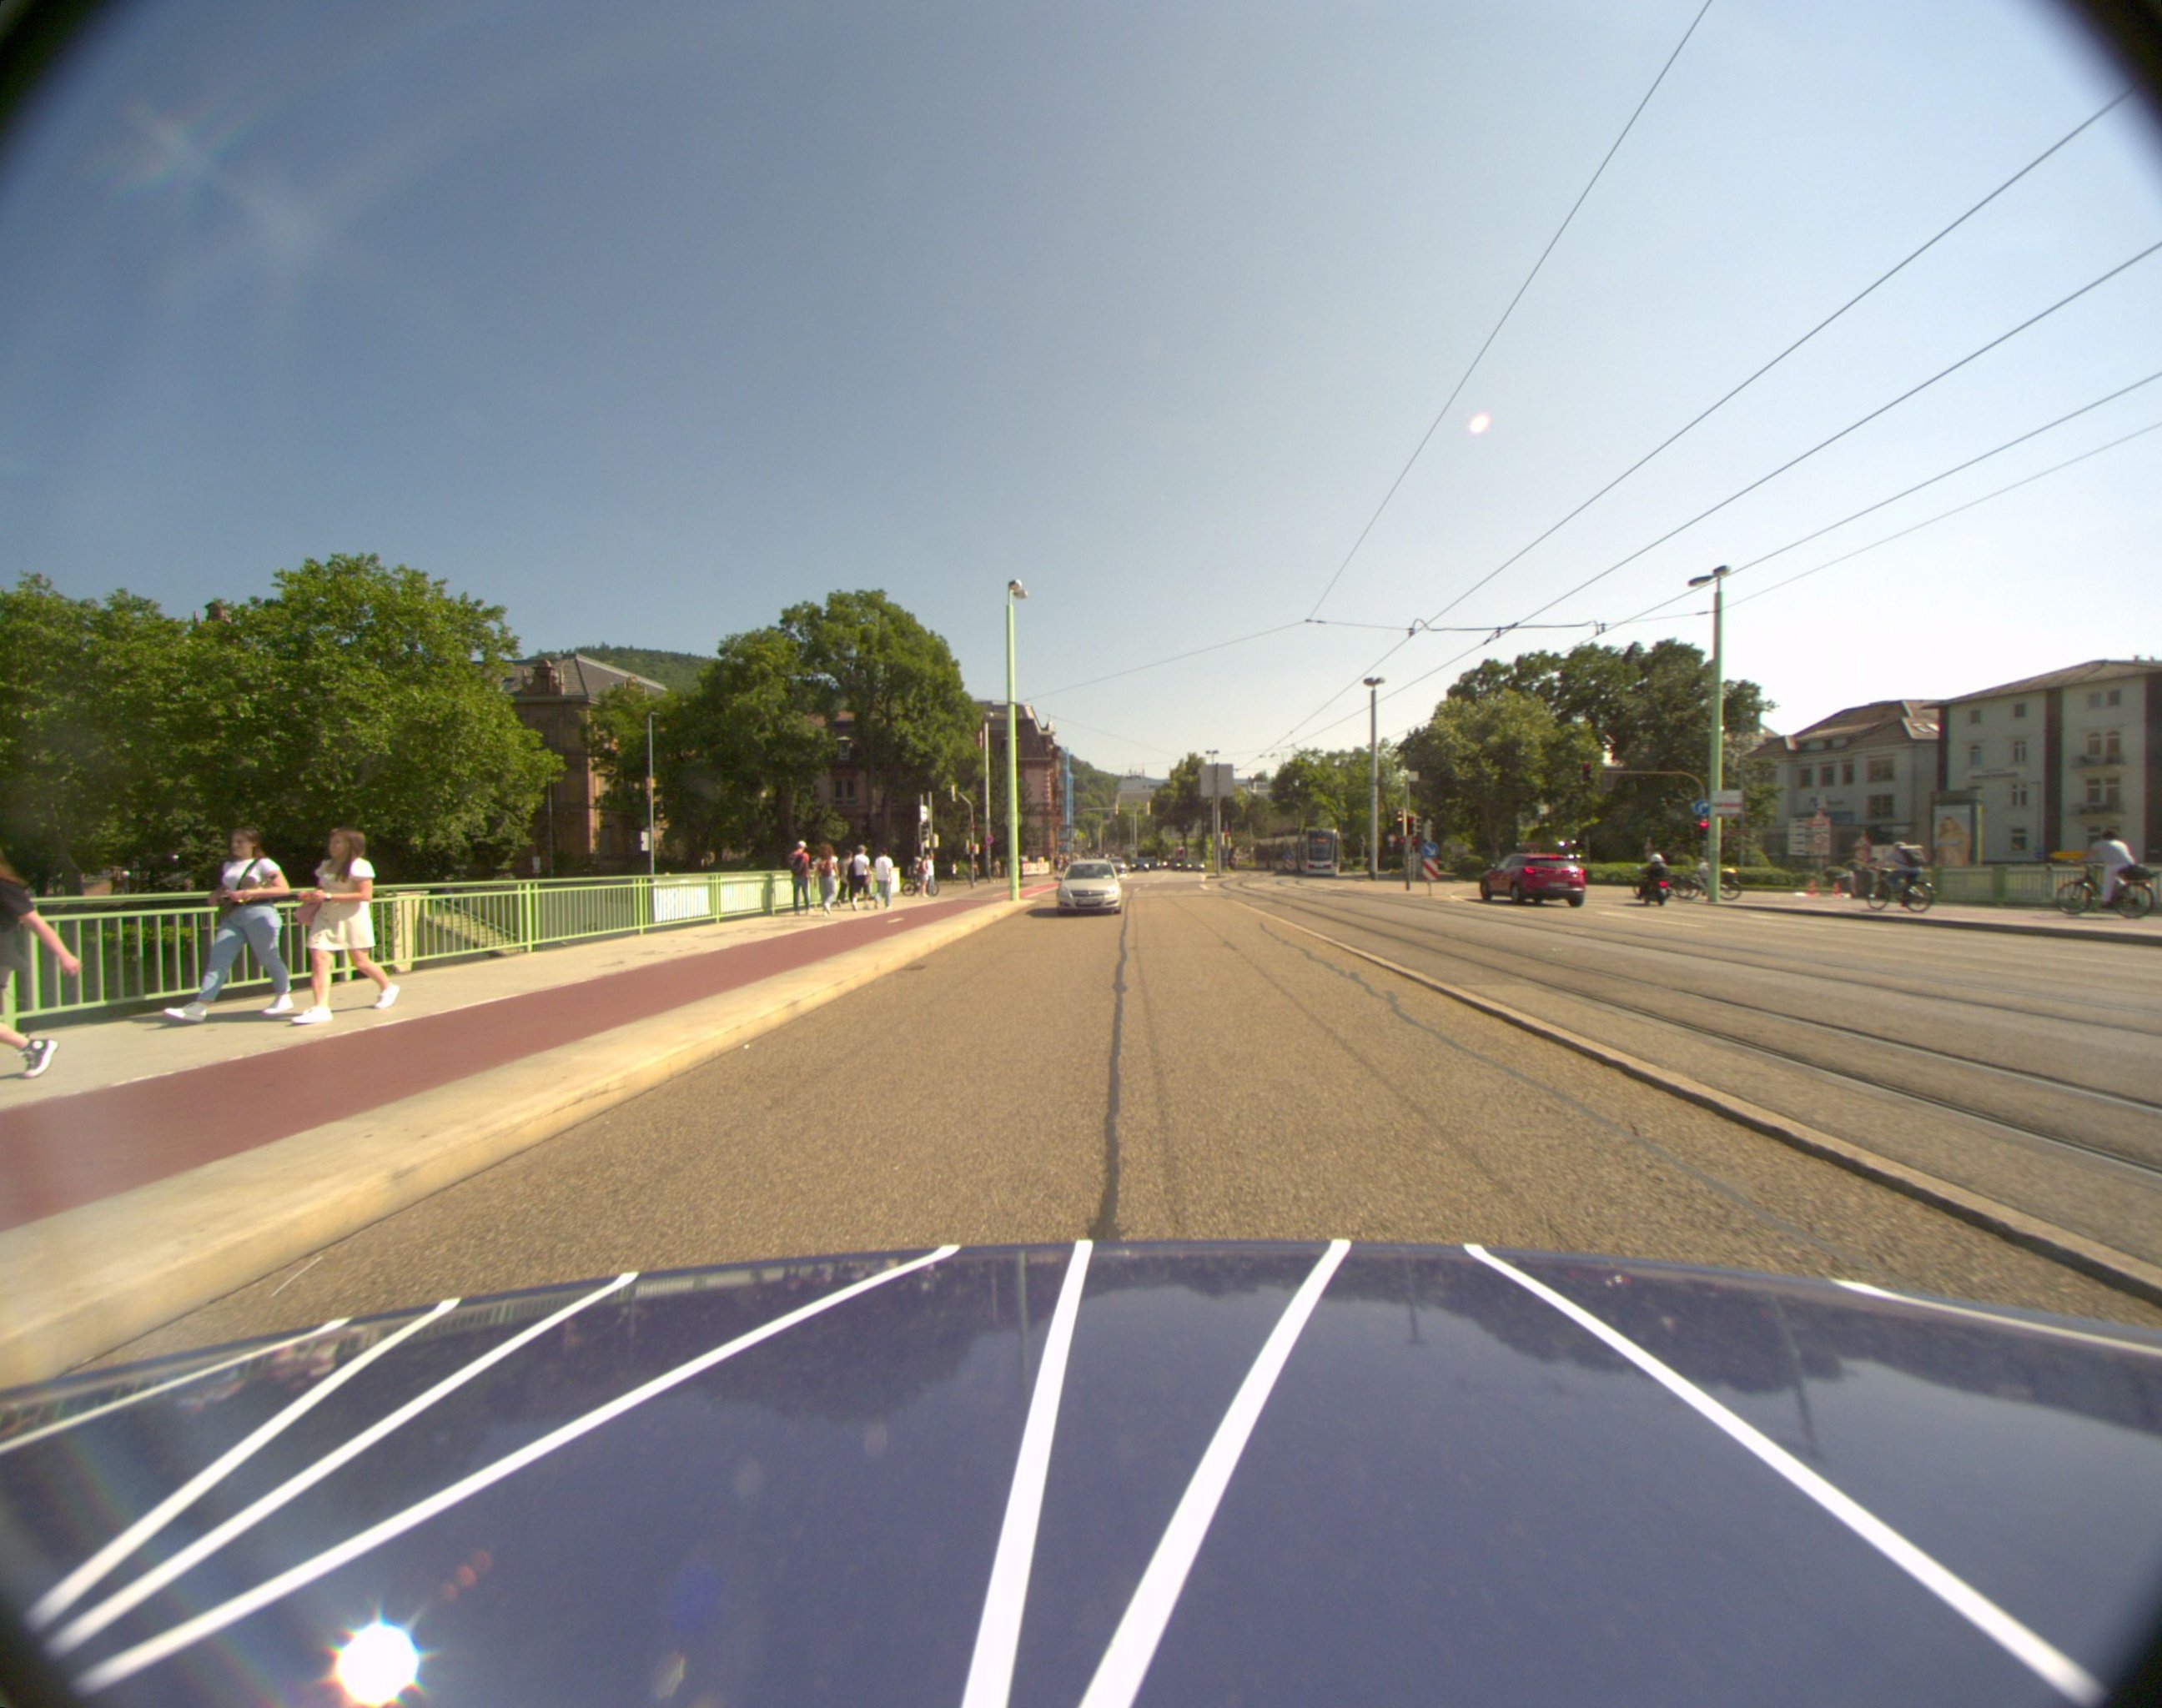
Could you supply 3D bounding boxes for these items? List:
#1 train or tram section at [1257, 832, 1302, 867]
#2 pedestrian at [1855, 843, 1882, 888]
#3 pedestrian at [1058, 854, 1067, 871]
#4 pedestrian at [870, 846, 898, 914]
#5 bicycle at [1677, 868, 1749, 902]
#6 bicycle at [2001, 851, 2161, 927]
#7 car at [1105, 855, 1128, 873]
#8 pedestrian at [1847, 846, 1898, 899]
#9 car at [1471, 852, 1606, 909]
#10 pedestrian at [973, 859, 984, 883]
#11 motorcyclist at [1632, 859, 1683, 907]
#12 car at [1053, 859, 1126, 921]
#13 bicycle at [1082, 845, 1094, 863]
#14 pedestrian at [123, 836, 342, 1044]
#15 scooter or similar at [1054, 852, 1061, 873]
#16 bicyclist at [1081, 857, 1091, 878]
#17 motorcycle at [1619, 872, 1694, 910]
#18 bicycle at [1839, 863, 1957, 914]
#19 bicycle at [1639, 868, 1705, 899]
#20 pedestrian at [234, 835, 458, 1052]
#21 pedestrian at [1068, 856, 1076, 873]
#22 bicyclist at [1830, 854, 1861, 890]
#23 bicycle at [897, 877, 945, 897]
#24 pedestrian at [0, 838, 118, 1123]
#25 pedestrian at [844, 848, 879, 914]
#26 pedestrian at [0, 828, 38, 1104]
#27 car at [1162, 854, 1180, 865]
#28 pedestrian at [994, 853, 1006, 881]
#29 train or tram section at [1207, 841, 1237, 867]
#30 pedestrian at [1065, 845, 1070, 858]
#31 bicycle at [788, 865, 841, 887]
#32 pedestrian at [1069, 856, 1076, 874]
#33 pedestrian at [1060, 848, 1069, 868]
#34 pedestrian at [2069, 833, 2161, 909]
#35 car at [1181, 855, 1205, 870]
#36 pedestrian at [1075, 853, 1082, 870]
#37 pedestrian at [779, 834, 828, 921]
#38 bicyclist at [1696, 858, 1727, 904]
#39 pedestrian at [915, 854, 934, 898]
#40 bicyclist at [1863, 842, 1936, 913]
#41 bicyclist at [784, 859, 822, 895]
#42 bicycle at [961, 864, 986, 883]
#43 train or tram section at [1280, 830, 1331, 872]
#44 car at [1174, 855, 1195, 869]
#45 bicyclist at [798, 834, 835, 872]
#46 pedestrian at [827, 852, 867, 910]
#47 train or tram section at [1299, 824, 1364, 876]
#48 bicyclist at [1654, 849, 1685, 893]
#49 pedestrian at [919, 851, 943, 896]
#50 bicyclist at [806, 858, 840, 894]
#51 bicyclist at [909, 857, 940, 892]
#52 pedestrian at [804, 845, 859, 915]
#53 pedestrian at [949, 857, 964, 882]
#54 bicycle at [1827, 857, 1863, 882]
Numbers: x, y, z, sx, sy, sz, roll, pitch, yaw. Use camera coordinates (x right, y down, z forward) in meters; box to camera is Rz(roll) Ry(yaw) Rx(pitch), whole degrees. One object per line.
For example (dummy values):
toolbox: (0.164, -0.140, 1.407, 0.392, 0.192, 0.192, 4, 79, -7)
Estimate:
train or tram section: (22.982, -0.485, 88.331, 2.544, 3.755, 9.167, 2, 0, -1)
pedestrian: (31.850, 0.463, 30.731, 0.702, 1.782, 0.694, -1, 1, -39)
pedestrian: (-1.780, 0.791, 73.886, 0.814, 1.593, 0.815, 2, 0, -2)
pedestrian: (-5.287, 0.675, 20.411, 0.550, 1.789, 0.645, -1, 1, -2)
bicycle: (22.517, 1.089, 27.102, 0.763, 1.107, 1.914, -2, 1, -44)
bicycle: (20.497, 0.665, 15.525, 0.706, 1.391, 2.163, -4, 0, 1)
car: (3.262, 0.904, 70.513, 1.998, 1.564, 4.000, -2, 0, 1)
pedestrian: (28.019, 0.643, 26.911, 0.942, 1.791, 1.155, -2, 1, -39)
car: (13.609, 0.725, 22.904, 1.997, 1.506, 4.191, -1, 1, 8)
pedestrian: (-7.439, 1.243, 55.395, 0.675, 1.700, 0.893, 0, 1, 0)
motorcyclist: (17.400, 0.867, 22.944, 0.847, 1.394, 0.898, -2, 1, 1)
car: (0.276, 0.932, 21.656, 1.802, 1.492, 4.497, -2, 0, 1)
bicycle: (0.413, 0.010, 45.354, 0.643, 1.076, 2.497, 0, 0, 2)
pedestrian: (-7.249, 0.687, 6.553, 0.836, 1.667, 0.885, -1, 1, -2)
scooter or similar: (-2.226, 0.817, 71.648, 0.694, 2.002, 1.095, 0, 0, -2)
bicyclist: (0.476, 1.244, 71.516, 0.944, 2.002, 0.830, 0, 1, -2)
motorcycle: (17.405, 1.094, 23.035, 0.847, 1.019, 1.952, -2, 0, 2)
bicycle: (19.131, 0.791, 17.863, 0.760, 1.107, 1.921, -3, -1, 5)
bicycle: (22.223, 1.097, 28.586, 1.914, 1.107, 0.763, 0, 1, 42)
pedestrian: (-6.322, 0.717, 6.614, 0.987, 1.740, 0.929, -1, 1, -2)
pedestrian: (-0.964, 1.060, 79.419, 0.707, 1.759, 0.903, -2, 0, -3)
bicyclist: (35.904, 0.818, 35.707, 0.877, 1.665, 0.773, 0, 1, 33)
bicycle: (-6.985, 1.444, 33.186, 1.942, 0.822, 0.565, -2, 0, 8)
pedestrian: (-6.544, 0.729, 4.442, 0.656, 1.640, 0.868, -1, 1, -2)
pedestrian: (-5.774, 0.699, 20.003, 0.697, 1.707, 0.731, -1, 1, -2)
pedestrian: (-7.364, 0.710, 4.368, 0.987, 1.759, 1.254, 0, 1, -2)
car: (11.133, 0.671, 94.454, 1.637, 1.301, 3.913, 0, 0, -2)
pedestrian: (-6.042, 0.964, 56.501, 0.777, 2.002, 1.059, 0, 1, -1)
train or tram section: (18.968, 0.041, 102.557, 2.767, 3.383, 5.885, 0, 0, -2)
pedestrian: (-1.710, -0.288, 96.886, 0.707, 1.685, 0.628, 0, 2, 2)
bicycle: (-10.876, 0.914, 31.010, 1.942, 0.822, 0.565, -2, 0, 8)
pedestrian: (-0.934, 1.198, 80.689, 0.636, 1.880, 0.903, -1, 0, -3)
pedestrian: (-1.702, 0.421, 76.890, 0.814, 2.002, 0.815, 2, 0, -2)
pedestrian: (20.521, 0.320, 15.045, 0.745, 1.447, 0.899, -1, 1, 3)
car: (11.193, 0.843, 76.310, 1.752, 1.477, 4.747, 1, 0, 1)
pedestrian: (-0.300, 0.772, 79.950, 0.707, 1.743, 0.903, 0, 2, -3)
pedestrian: (-6.600, 0.537, 18.137, 0.805, 2.002, 0.954, -1, 1, -2)
bicyclist: (22.507, 0.937, 27.106, 0.881, 1.600, 0.769, -2, 2, -45)
pedestrian: (-6.317, 0.901, 30.720, 0.535, 1.750, 0.577, -1, 0, 7)
bicyclist: (19.119, 0.543, 17.770, 0.879, 1.599, 0.772, 1, -1, 6)
bicyclist: (-11.602, 0.960, 31.722, 1.081, 1.465, 0.929, -2, 0, 12)
bicycle: (-7.869, 1.428, 55.689, 0.801, 1.199, 2.276, 2, 5, 20)
train or tram section: (22.992, -0.420, 78.409, 2.543, 3.758, 9.162, 0, 4, 0)
car: (11.171, 0.864, 82.049, 1.797, 1.403, 4.000, 0, 0, 1)
bicyclist: (-10.793, -0.039, 31.041, 1.082, 1.465, 0.929, -2, 0, 10)
pedestrian: (-6.655, 0.752, 21.647, 0.801, 1.625, 0.949, -1, 1, 0)
train or tram section: (20.474, -0.268, 61.560, 2.471, 3.755, 11.874, 0, 0, 31)
bicyclist: (22.179, 0.636, 28.623, 0.877, 1.600, 0.773, 0, 2, 42)
pedestrian: (-6.170, 0.799, 31.326, 0.775, 1.844, 0.645, -1, 0, 7)
bicyclist: (-10.872, 0.943, 31.990, 1.081, 1.465, 0.763, -2, 0, 24)
bicyclist: (-6.831, 0.884, 33.186, 1.082, 1.465, 0.801, -2, 0, 8)
pedestrian: (-5.897, 0.593, 18.013, 0.987, 1.606, 0.921, -1, 1, -2)
pedestrian: (-9.050, 1.128, 55.233, 1.060, 1.772, 0.700, -1, 5, -10)
bicycle: (35.892, 0.696, 35.706, 0.759, 1.107, 1.924, 0, 1, 32)
